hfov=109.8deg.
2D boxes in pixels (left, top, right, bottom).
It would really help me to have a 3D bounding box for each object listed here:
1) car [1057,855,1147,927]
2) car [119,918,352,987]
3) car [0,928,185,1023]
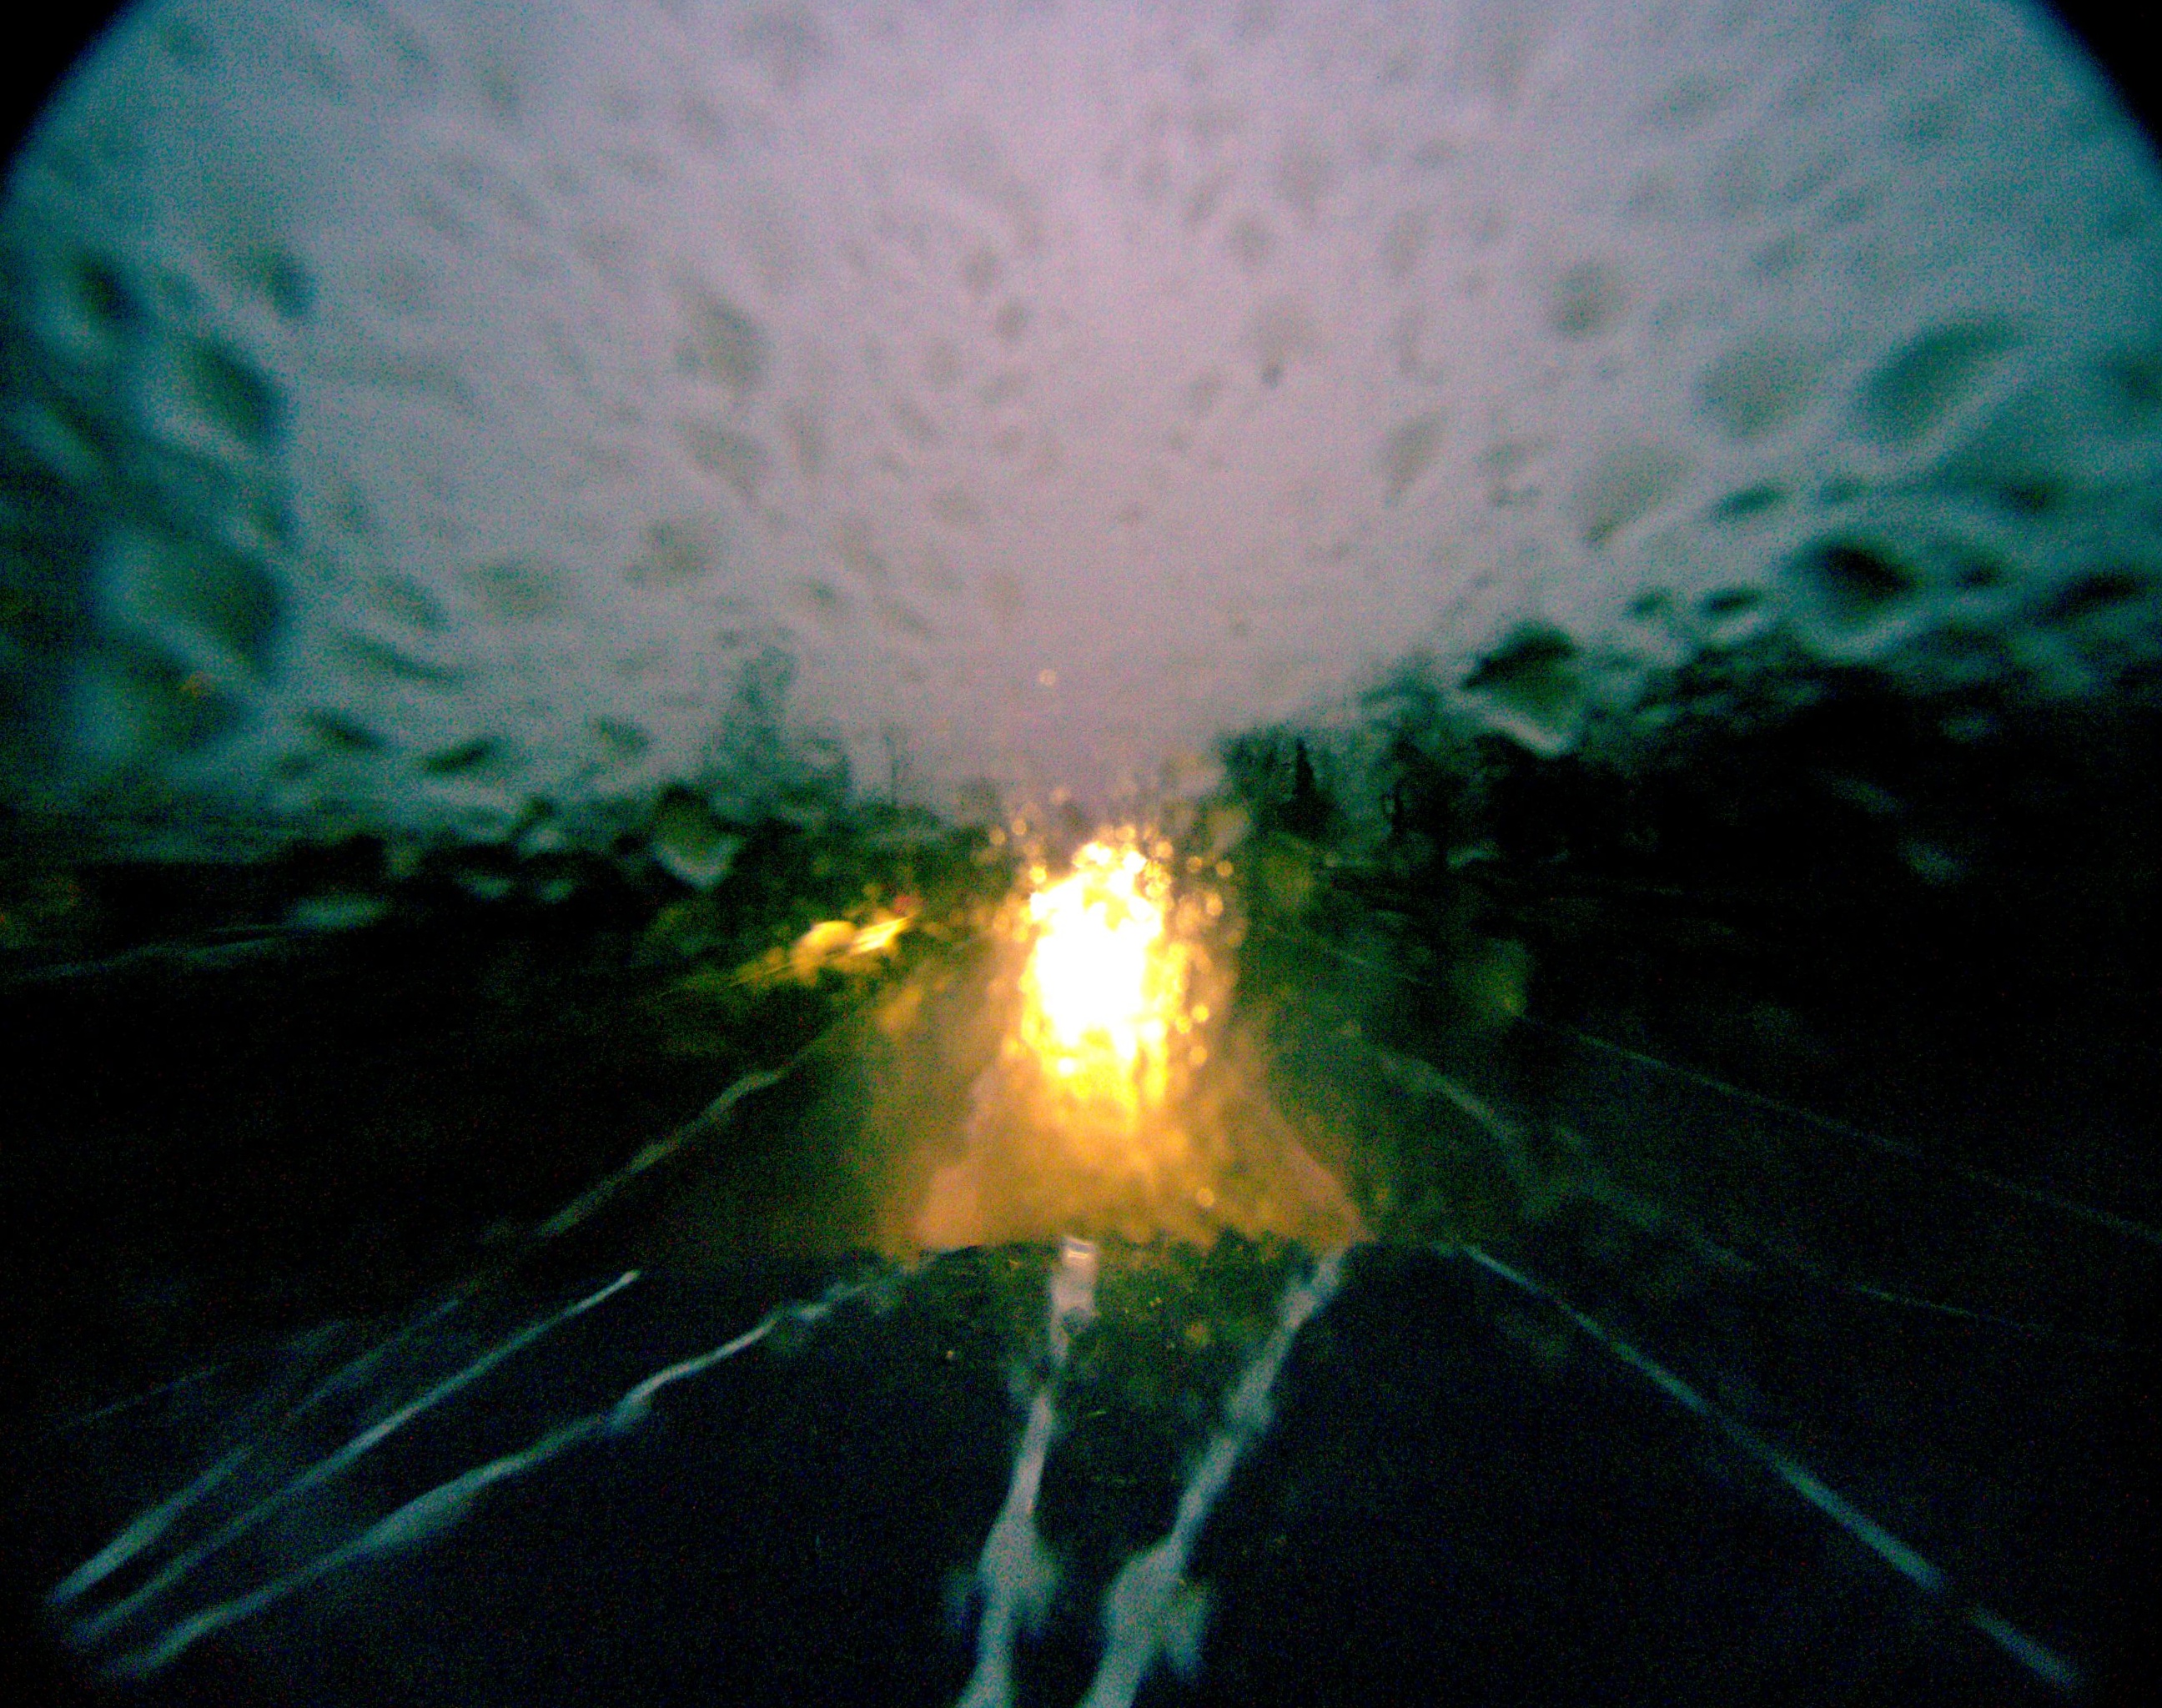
[{"bbox_3d":[0.558,0.916,20.912,2.102,1.566,4.799,-4,1,1],"label":"car"},{"bbox_3d":[-24.908,2.864,22.581,4.192,1.508,1.999,-4,-1,-12],"label":"car"},{"bbox_3d":[-23.508,2.755,16.817,4.406,1.705,1.998,-4,0,-10],"label":"car"}]
